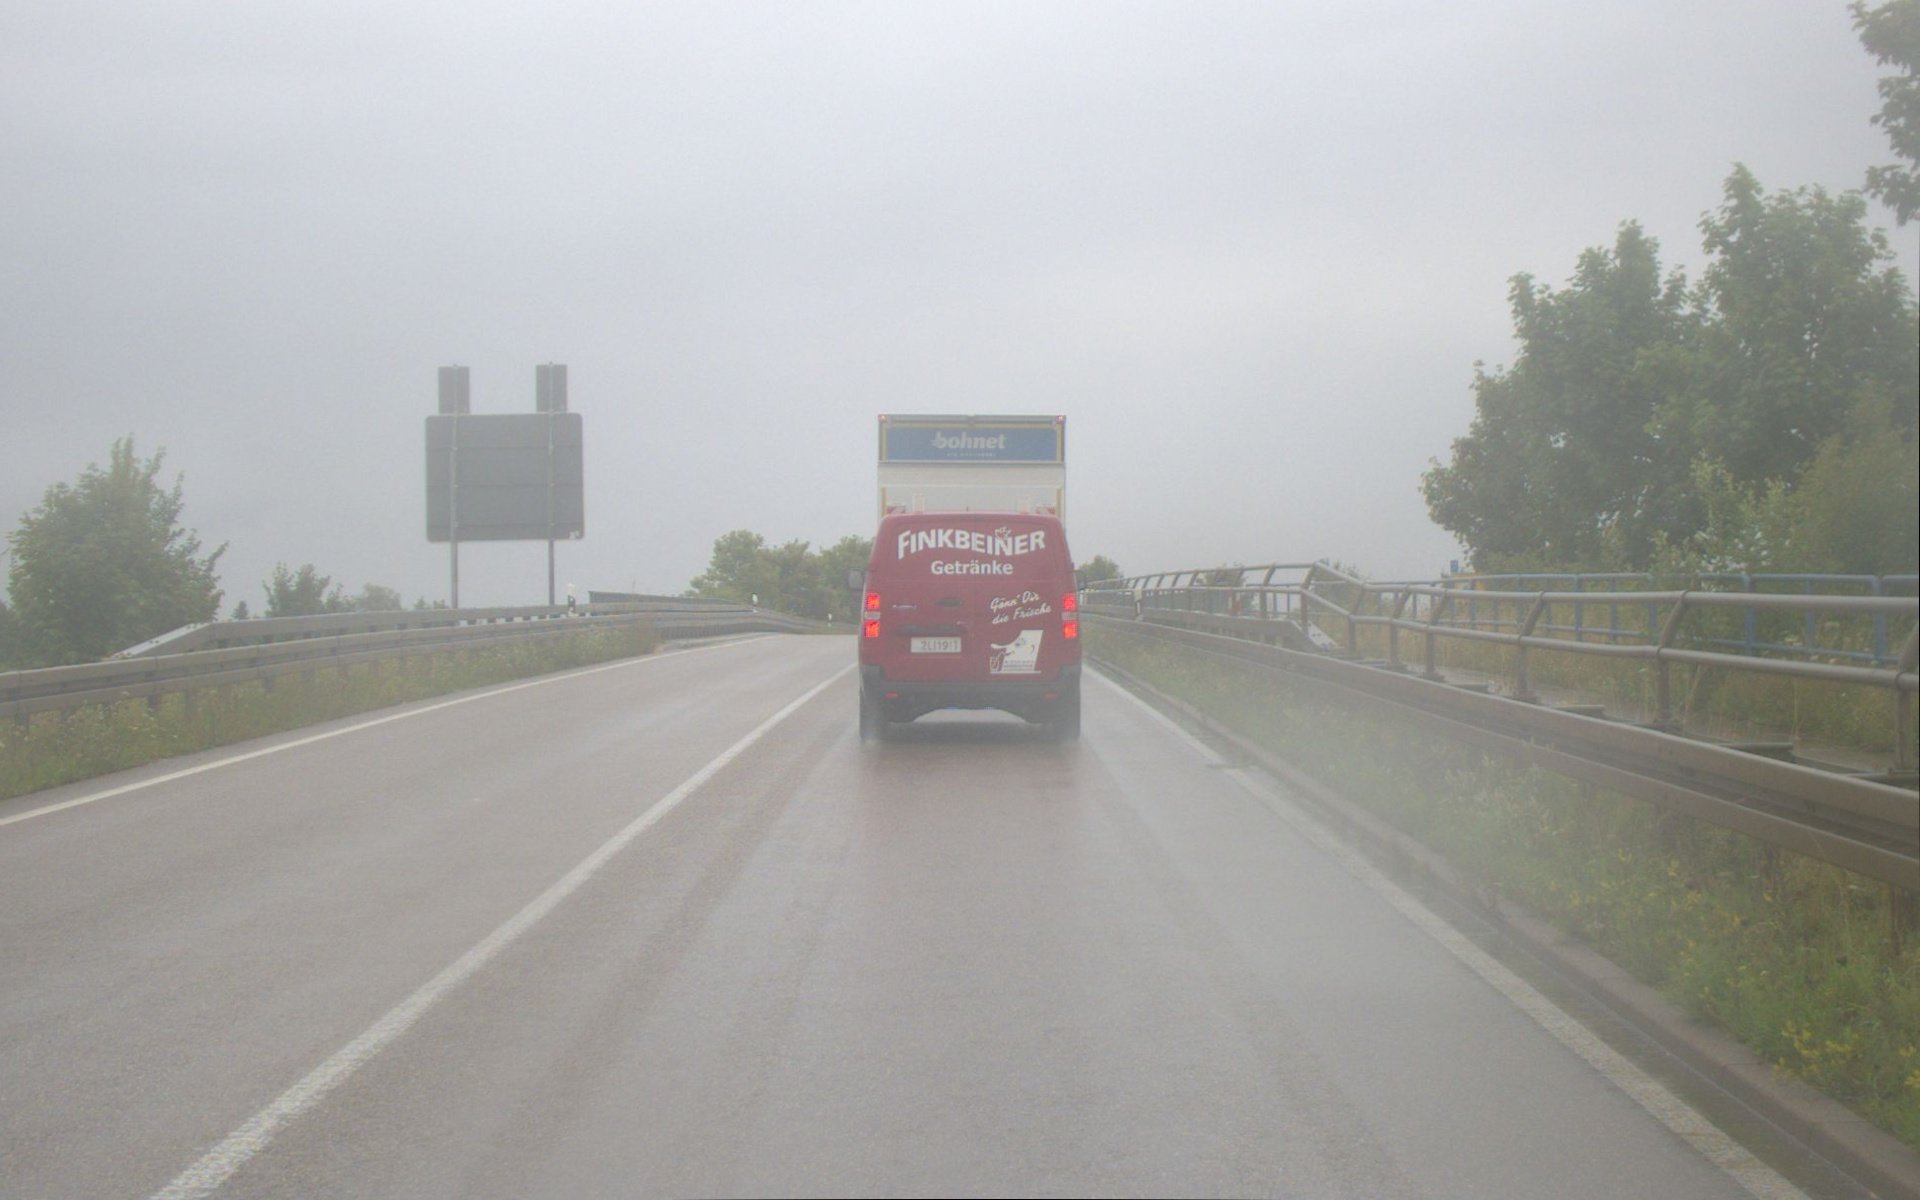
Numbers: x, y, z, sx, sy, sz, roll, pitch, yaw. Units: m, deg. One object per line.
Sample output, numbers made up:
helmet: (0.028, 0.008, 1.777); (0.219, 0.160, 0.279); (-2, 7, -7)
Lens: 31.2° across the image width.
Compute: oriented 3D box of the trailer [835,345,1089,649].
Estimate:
trailer: (0.163, -1.333, 50.196); (3.201, 3.909, 8.738); (3, -1, 2)

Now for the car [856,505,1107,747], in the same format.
car: (0.155, 0.186, 29.804); (1.993, 1.919, 4.143); (1, 1, 0)
